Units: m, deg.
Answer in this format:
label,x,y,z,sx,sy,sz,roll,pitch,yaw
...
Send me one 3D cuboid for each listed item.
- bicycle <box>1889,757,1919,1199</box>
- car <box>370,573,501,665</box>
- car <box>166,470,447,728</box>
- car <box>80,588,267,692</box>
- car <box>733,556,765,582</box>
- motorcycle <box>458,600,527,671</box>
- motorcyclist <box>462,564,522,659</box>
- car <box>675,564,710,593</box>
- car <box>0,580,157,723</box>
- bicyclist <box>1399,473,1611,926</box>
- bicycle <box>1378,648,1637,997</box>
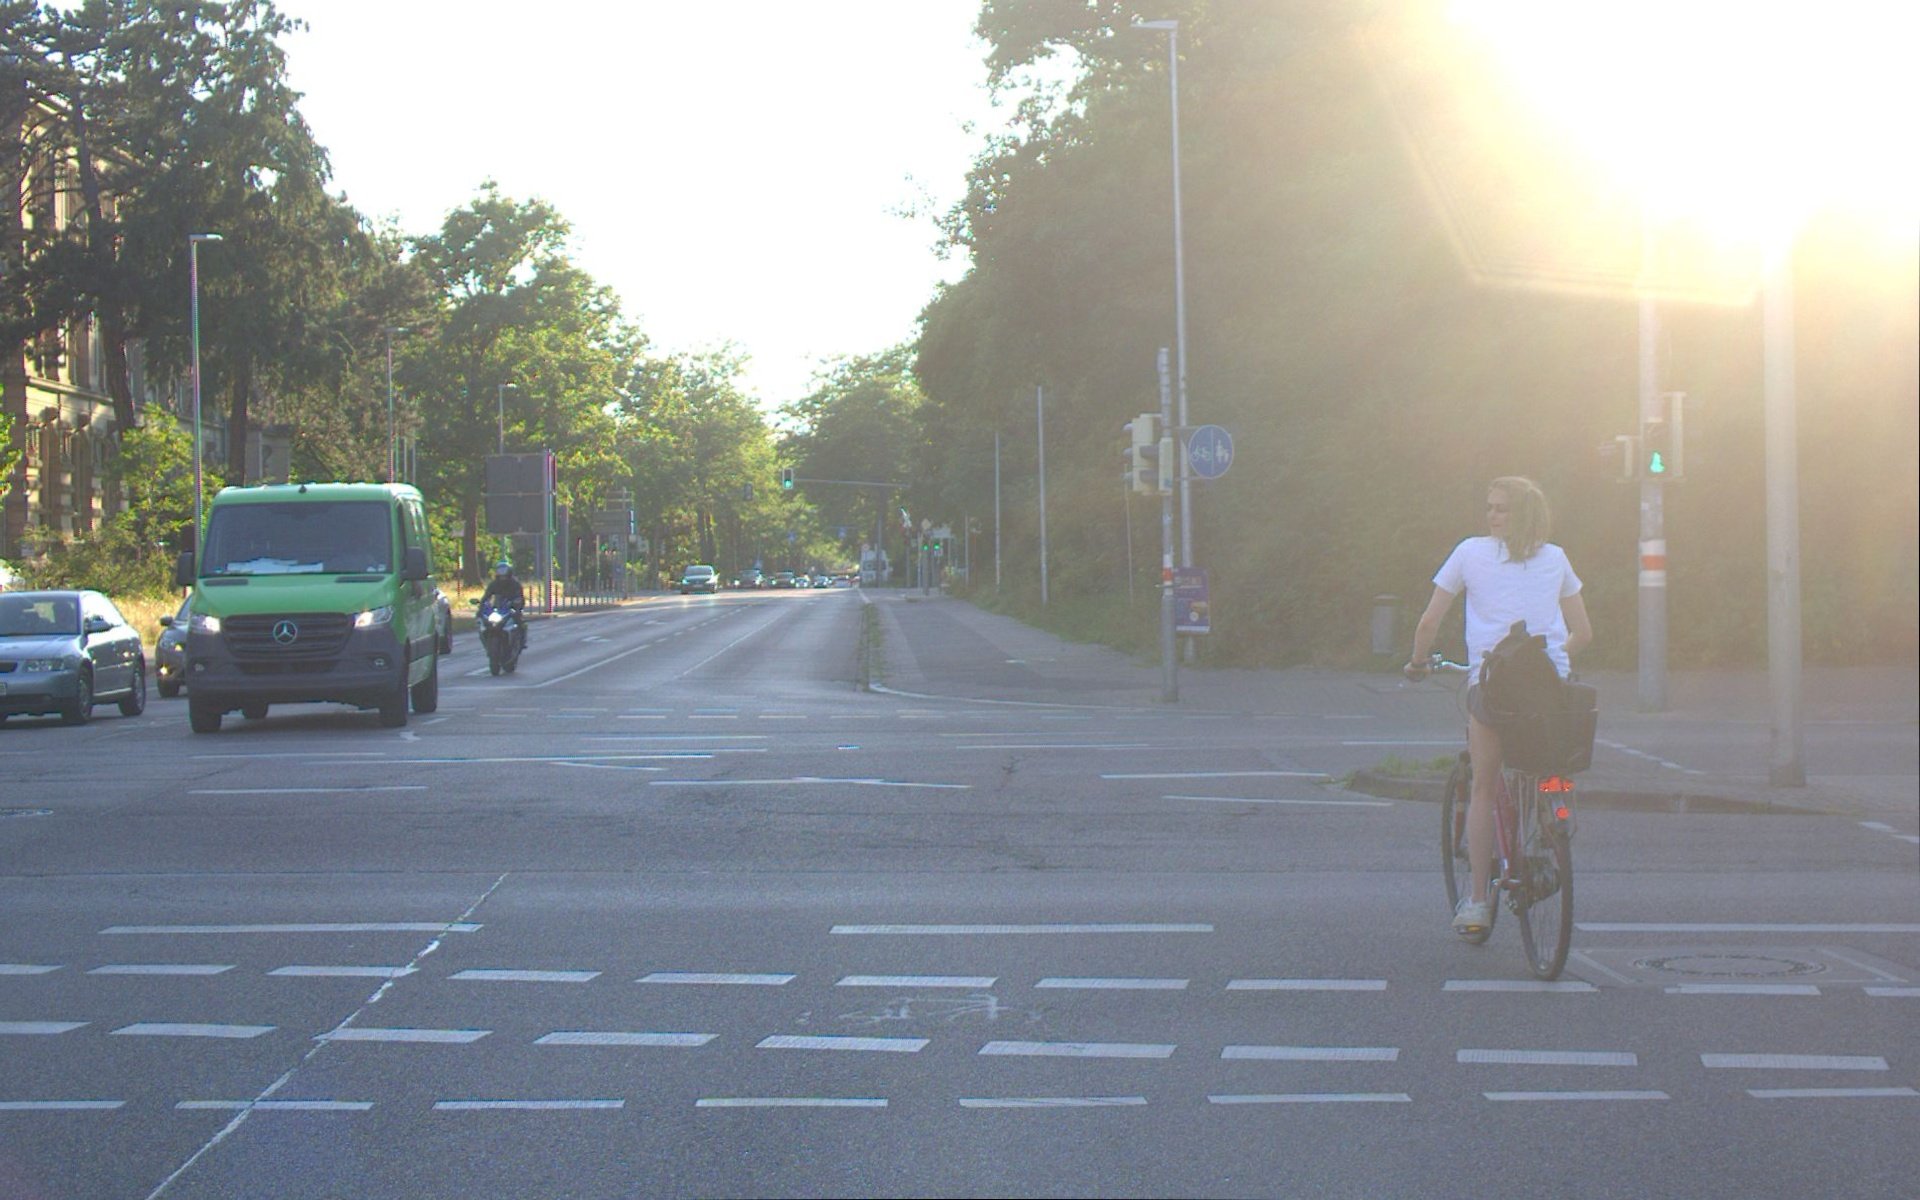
label,x,y,z,sx,sy,sz,roll,pitch,yaw
bicycle,2.538,0.908,7.174,0.698,1.059,1.825,0,0,0
car,-9.764,0.324,64.274,1.764,1.630,4.513,-1,0,0
car,-6.271,-0.035,33.649,2.038,2.270,5.942,-1,0,-4
car,-10.777,0.525,47.330,1.764,1.323,3.643,-1,0,-1
car,-13.746,-2.030,223.621,1.993,1.634,4.001,-1,1,-4
motorcycle,-6.780,0.506,49.919,0.754,0.998,1.879,-1,0,-1
motorcyclist,-6.783,0.160,49.852,0.749,1.353,0.704,-1,0,-1
car,-13.746,-1.106,176.704,1.770,1.469,3.776,-1,1,-5
car,-9.806,0.510,36.290,1.730,1.404,4.140,-1,1,-1
bicyclist,1.962,0.343,12.457,0.603,1.580,0.910,0,0,-1
bicycle,1.965,0.765,12.563,0.613,1.134,1.884,0,0,-1
